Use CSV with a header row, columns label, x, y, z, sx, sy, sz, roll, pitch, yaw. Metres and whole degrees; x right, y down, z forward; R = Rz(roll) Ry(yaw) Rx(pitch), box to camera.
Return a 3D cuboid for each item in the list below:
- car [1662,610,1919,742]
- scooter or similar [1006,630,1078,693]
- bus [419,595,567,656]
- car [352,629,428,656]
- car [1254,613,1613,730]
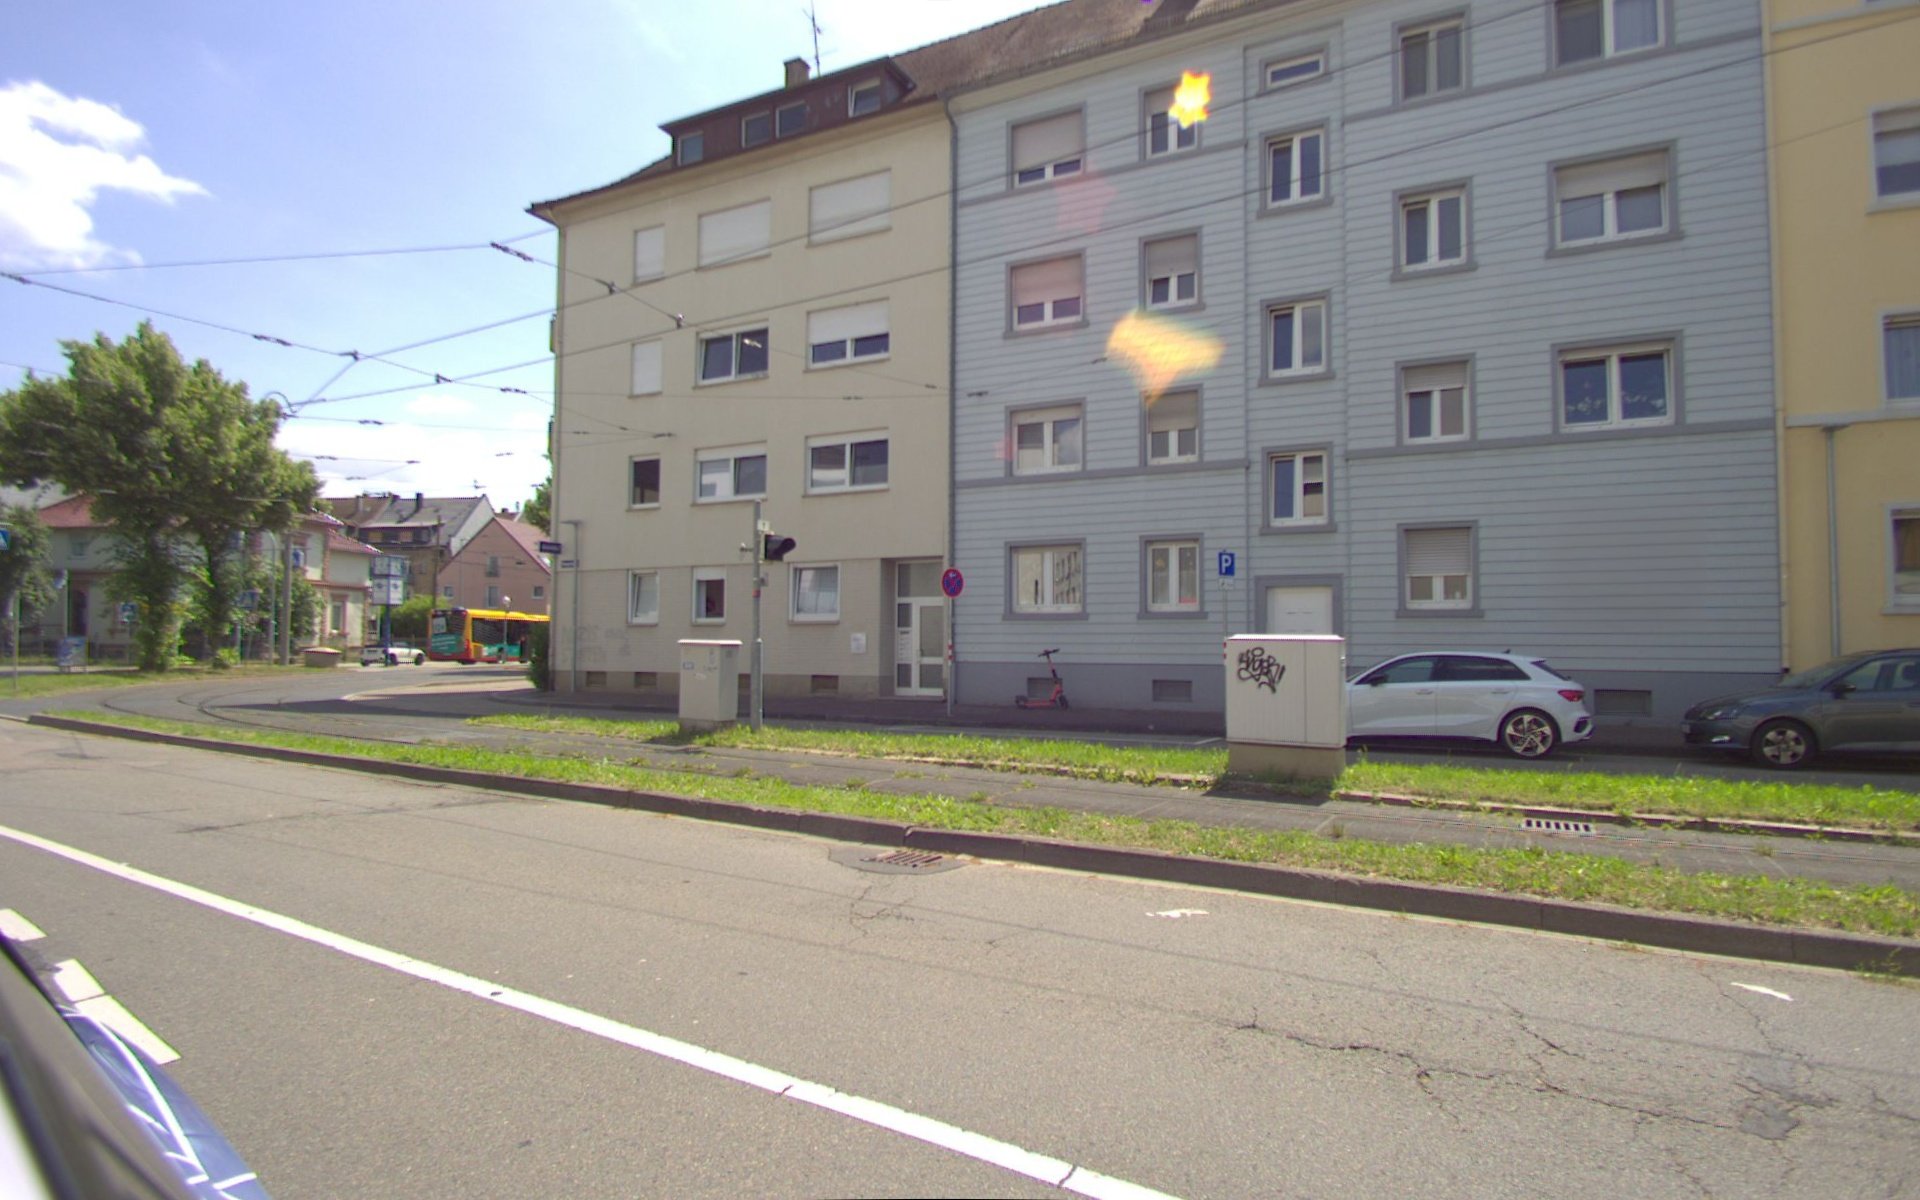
label,x,y,z,sx,sy,sz,roll,pitch,yaw
car,11.444,0.912,12.425,4.301,1.516,1.917,-1,-3,25
scooter or similar,1.672,1.237,20.702,1.314,1.232,0.634,-1,-1,27
bus,-28.093,1.655,61.710,2.677,3.322,10.828,-1,-3,9
car,-32.120,2.401,57.147,1.759,1.475,3.737,0,-2,8
car,6.603,1.004,14.518,4.351,1.462,1.917,-1,-5,25
